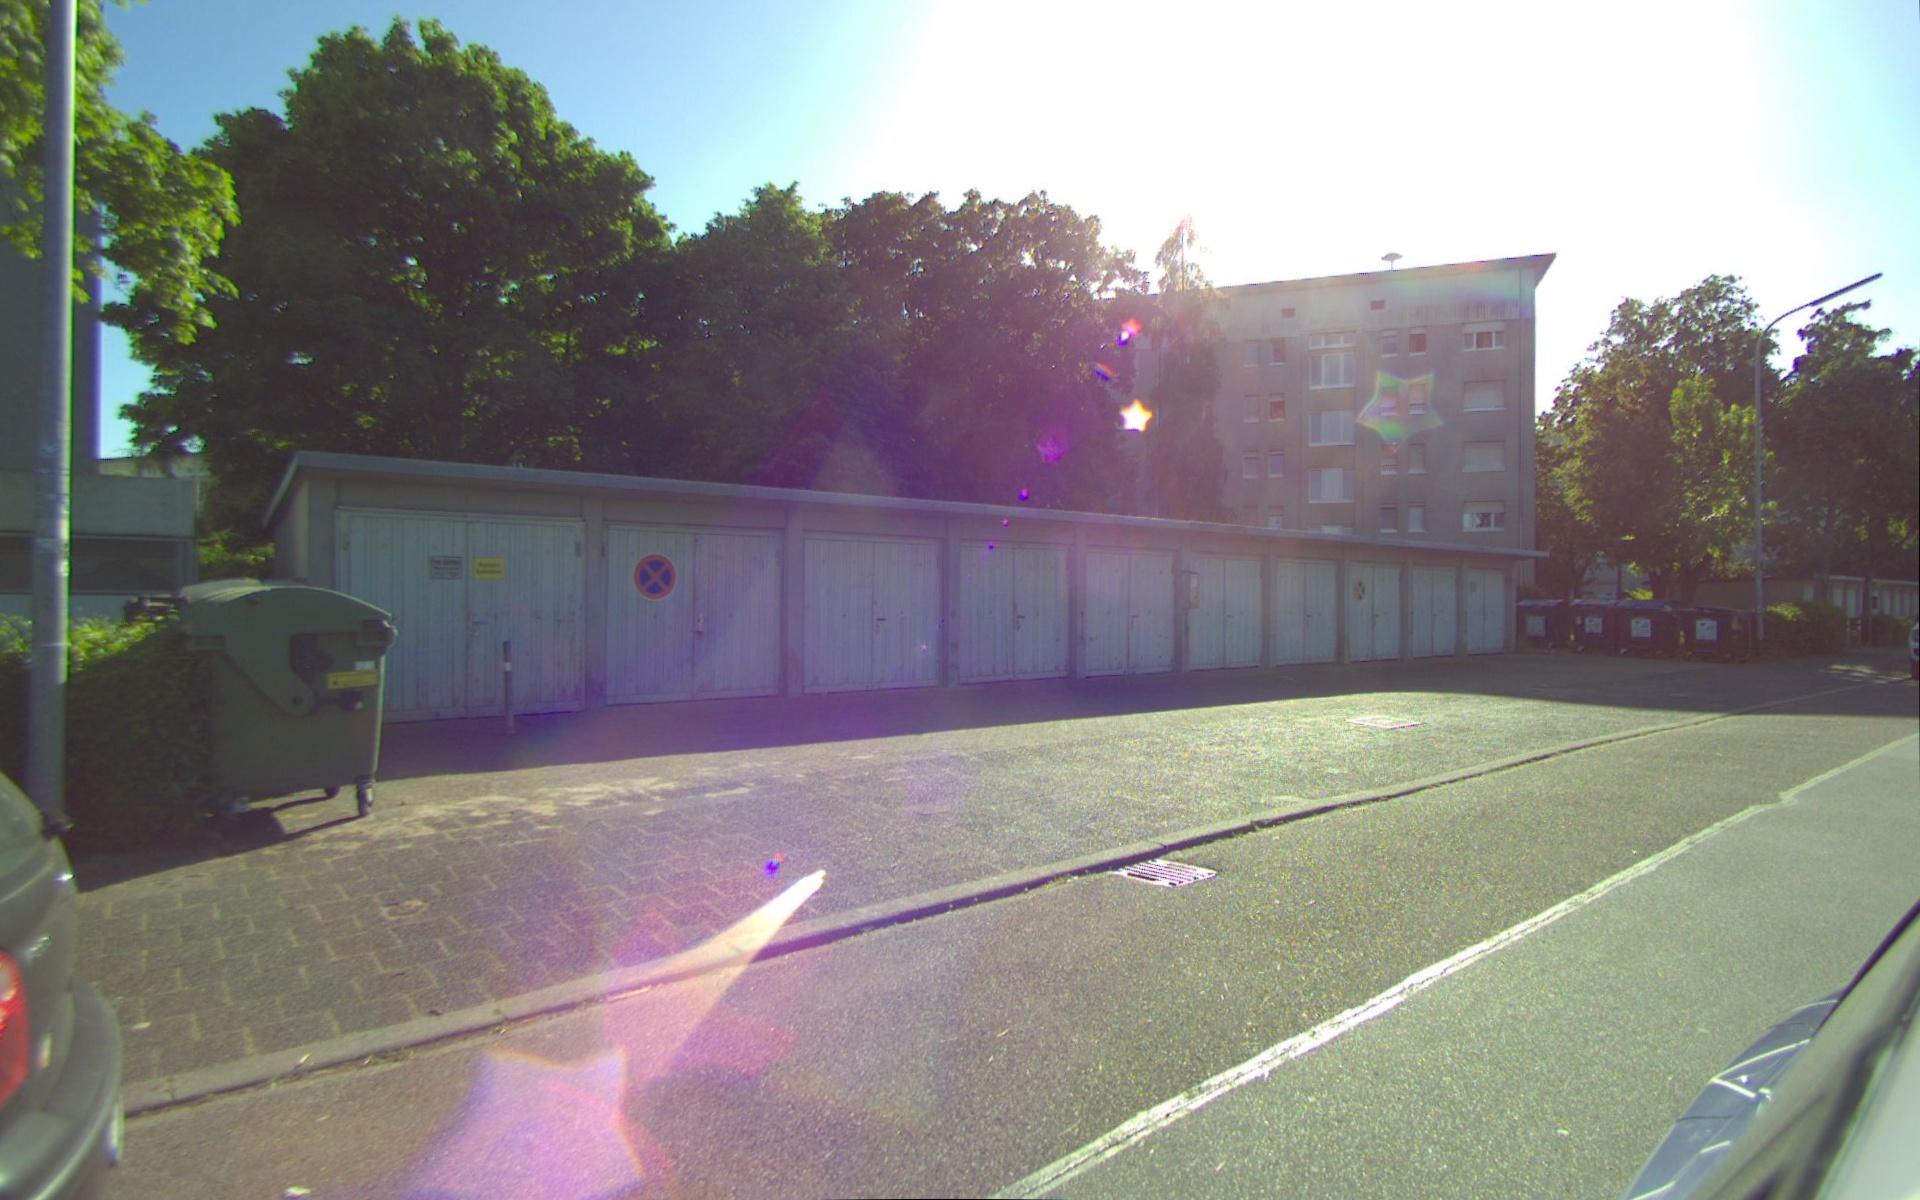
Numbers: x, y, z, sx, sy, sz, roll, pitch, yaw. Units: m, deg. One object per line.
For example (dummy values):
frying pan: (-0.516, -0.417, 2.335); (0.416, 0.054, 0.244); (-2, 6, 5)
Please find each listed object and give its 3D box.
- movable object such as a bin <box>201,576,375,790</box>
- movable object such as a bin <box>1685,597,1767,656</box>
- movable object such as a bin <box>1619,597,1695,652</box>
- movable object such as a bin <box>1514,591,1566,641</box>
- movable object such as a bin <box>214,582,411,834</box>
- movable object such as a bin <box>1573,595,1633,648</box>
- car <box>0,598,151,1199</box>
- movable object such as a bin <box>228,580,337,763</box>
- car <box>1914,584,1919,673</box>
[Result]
movable object such as a bin: (-5.046, 0.549, 7.576); (0.934, 1.433, 1.276); (0, 0, -41)
movable object such as a bin: (18.558, 0.620, 24.546); (1.031, 1.364, 1.256); (-1, 1, -26)
movable object such as a bin: (17.973, 0.607, 26.113); (1.031, 1.364, 1.256); (-1, 1, -26)
movable object such as a bin: (17.352, 0.469, 30.269); (0.817, 1.434, 1.080); (-1, 0, -32)
movable object such as a bin: (-4.158, 0.599, 6.469); (0.898, 1.421, 1.239); (0, 0, -41)
movable object such as a bin: (17.430, 0.566, 27.431); (0.847, 1.364, 1.081); (-1, 0, -26)
car: (-3.189, 0.706, 0.872); (3.815, 1.420, 1.650); (1, 0, -42)
movable object such as a bin: (-5.651, 0.553, 8.437); (0.676, 1.433, 0.725); (0, 0, -41)
car: (22.552, 0.596, 22.017); (5.179, 1.864, 1.910); (1, -2, -39)
